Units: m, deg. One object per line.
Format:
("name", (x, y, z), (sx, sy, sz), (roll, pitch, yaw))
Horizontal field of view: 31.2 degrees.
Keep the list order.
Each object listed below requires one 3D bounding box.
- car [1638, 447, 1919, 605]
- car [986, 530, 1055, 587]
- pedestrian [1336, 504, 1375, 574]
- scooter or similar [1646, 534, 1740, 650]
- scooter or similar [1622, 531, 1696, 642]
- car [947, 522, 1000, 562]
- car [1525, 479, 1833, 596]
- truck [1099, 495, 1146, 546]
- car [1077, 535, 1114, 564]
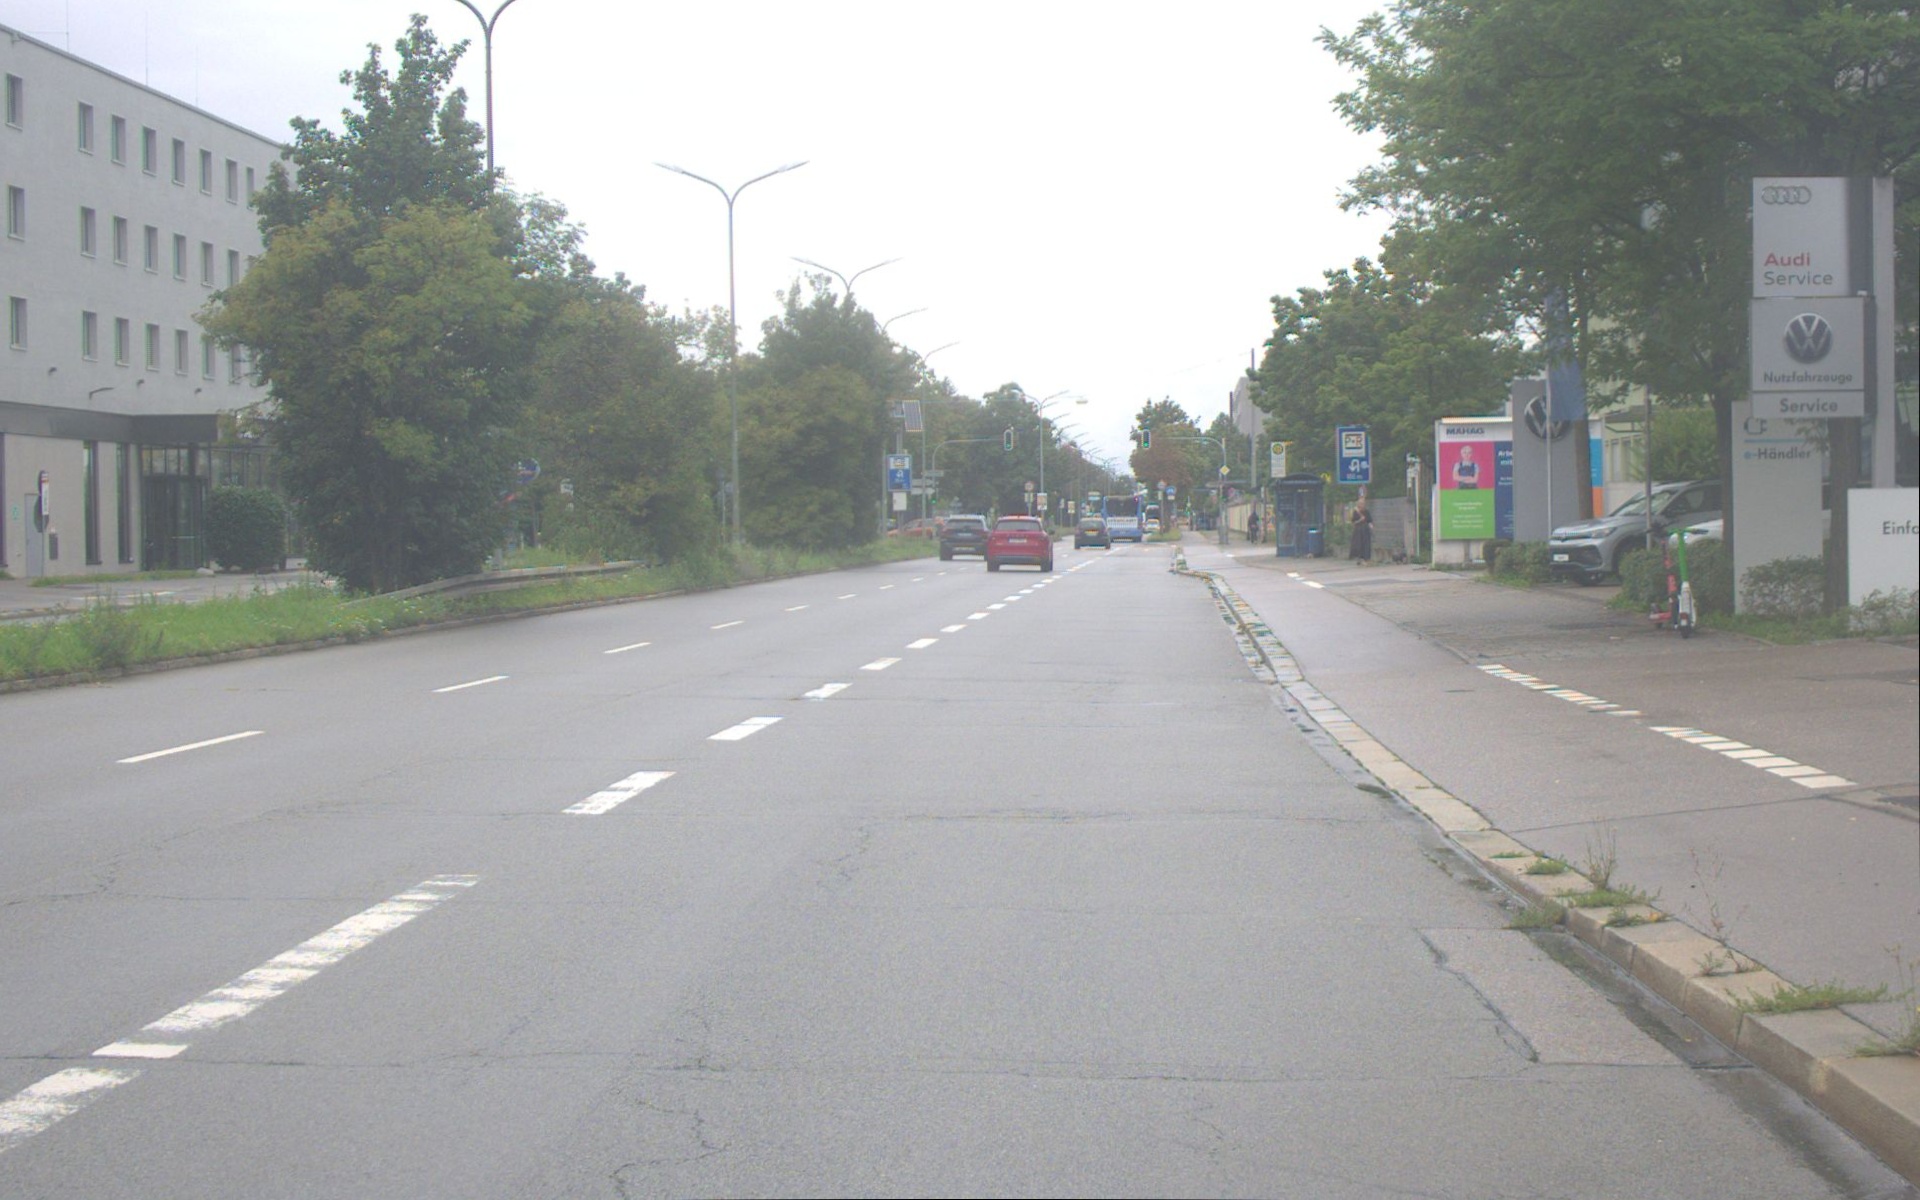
("car", (12.014, -1.045, 48.740), (4.253, 2.007, 1.960), (-3, 0, 28))
("car", (1.777, -1.198, 99.800), (1.862, 1.612, 4.000), (0, 1, 3))
("pedestrian", (10.031, -1.545, 87.236), (0.758, 1.722, 0.895), (-4, 1, 1))
("scooter or similar", (7.922, -0.094, 37.201), (0.496, 1.200, 1.430), (-4, 1, -6))
("scooter or similar", (8.019, -0.168, 39.461), (0.496, 1.200, 1.430), (-4, 2, 1))
("car", (0.523, -2.123, 125.669), (1.803, 1.428, 4.000), (-1, 1, 2))
("car", (12.033, -1.042, 57.600), (4.587, 1.701, 2.008), (-3, 0, -17))
("truck", (10.743, -5.279, 227.697), (2.969, 3.274, 7.915), (-1, 1, 2))
("car", (6.864, -2.555, 174.260), (1.803, 1.428, 4.000), (-1, 1, 2))
